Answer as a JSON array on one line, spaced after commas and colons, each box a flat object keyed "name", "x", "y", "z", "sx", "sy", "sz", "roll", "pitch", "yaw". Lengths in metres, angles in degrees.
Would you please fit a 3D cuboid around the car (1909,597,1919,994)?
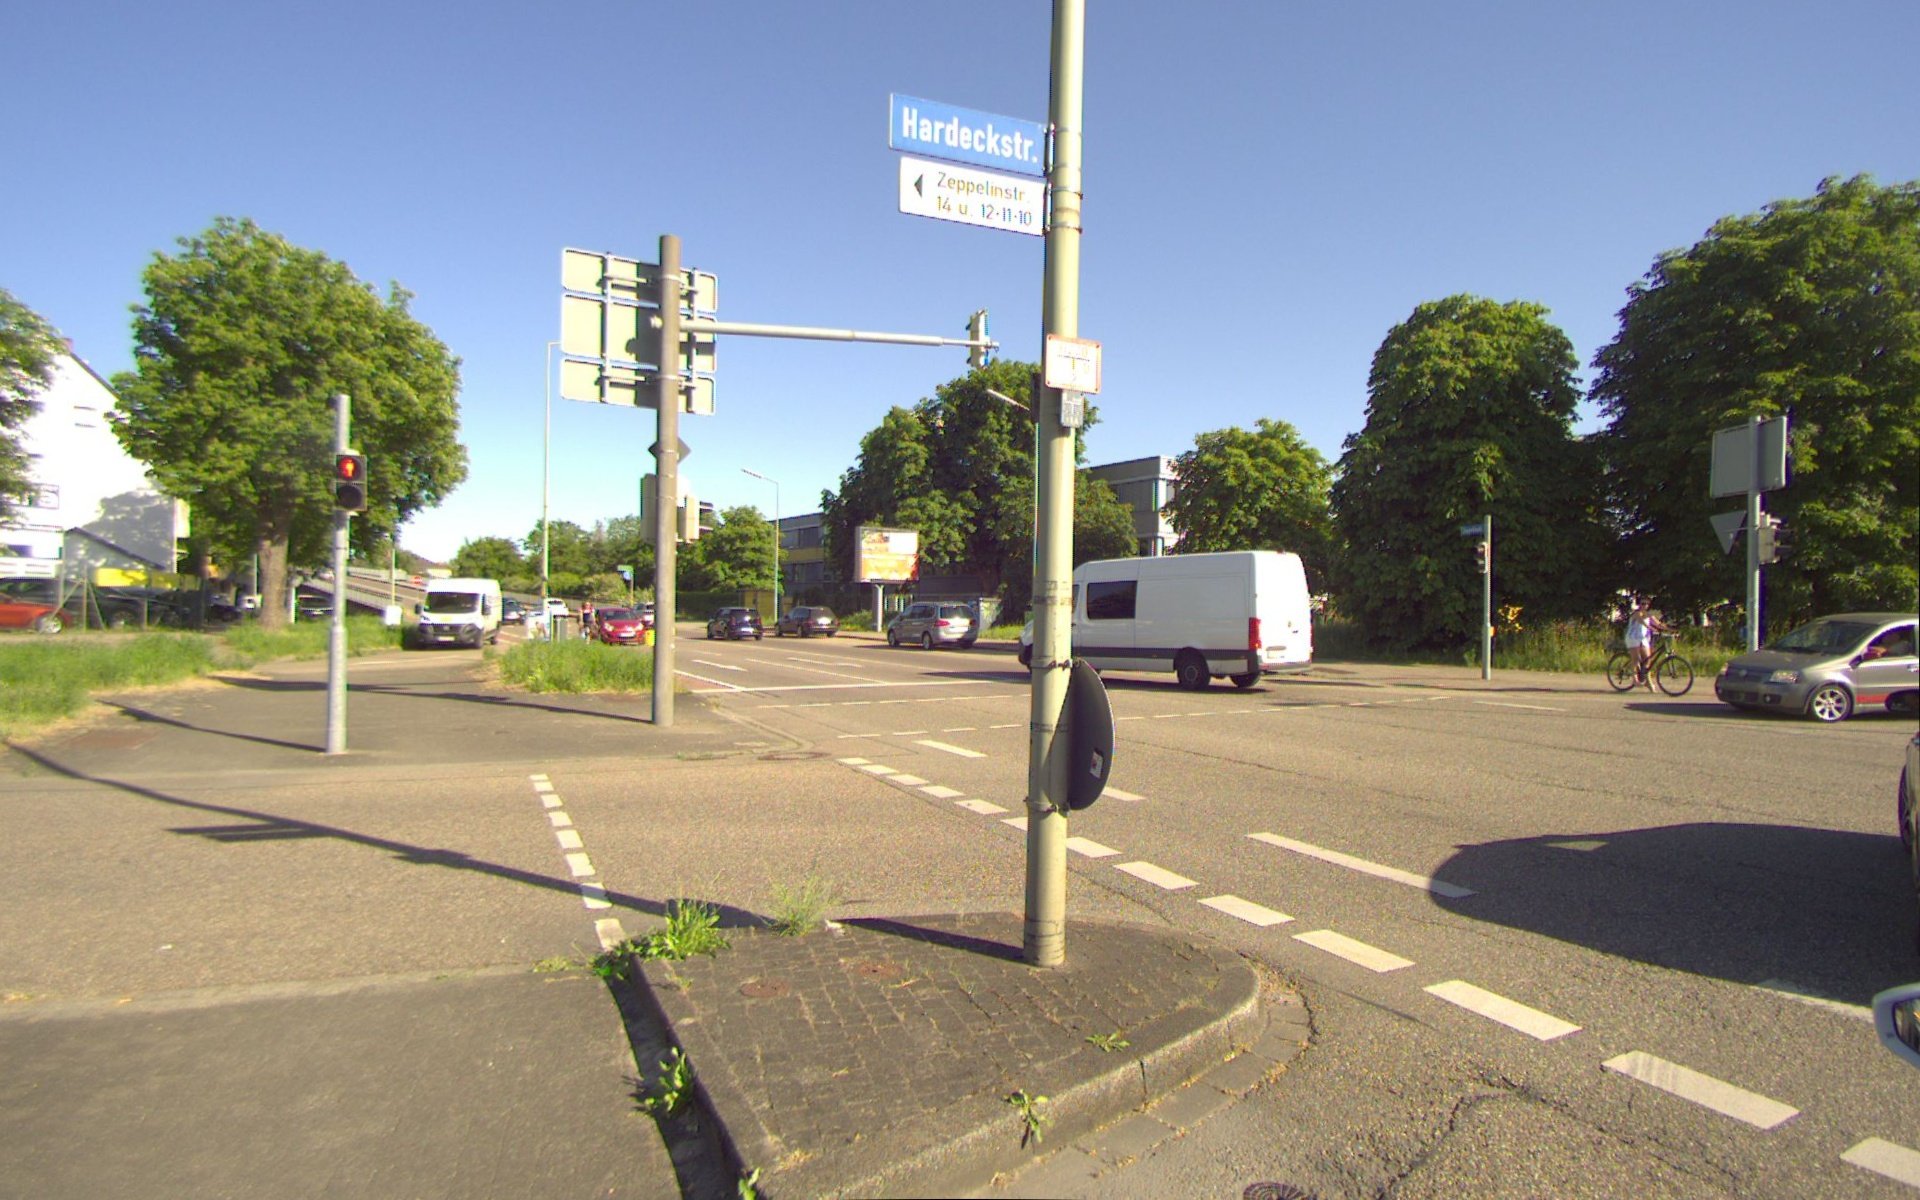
[{"name": "car", "x": 5.865, "y": 0.823, "z": 4.907, "sx": 1.751, "sy": 1.614, "sz": 3.966, "roll": 1, "pitch": -1, "yaw": 43}]

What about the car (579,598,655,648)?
[{"name": "car", "x": -13.448, "y": 0.867, "z": 39.263, "sx": 1.839, "sy": 1.759, "sz": 4.231, "roll": 1, "pitch": 0, "yaw": -33}]

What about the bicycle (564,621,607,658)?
[{"name": "bicycle", "x": -11.793, "y": 1.228, "z": 31.595, "sx": 0.929, "sy": 1.030, "sz": 2.180, "roll": 2, "pitch": 0, "yaw": -29}]

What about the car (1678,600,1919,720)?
[{"name": "car", "x": 13.288, "y": 0.876, "z": 15.084, "sx": 3.926, "sy": 1.661, "sz": 1.808, "roll": 1, "pitch": -1, "yaw": -8}]

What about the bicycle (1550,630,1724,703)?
[{"name": "bicycle", "x": 12.474, "y": 1.183, "z": 18.691, "sx": 0.887, "sy": 1.140, "sz": 2.948, "roll": 2, "pitch": 0, "yaw": -10}]

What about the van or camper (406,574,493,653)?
[{"name": "van or camper", "x": -18.895, "y": 0.474, "z": 37.001, "sx": 2.575, "sy": 2.617, "sz": 6.559, "roll": 0, "pitch": 0, "yaw": -30}]

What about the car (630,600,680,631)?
[{"name": "car", "x": -17.304, "y": 0.853, "z": 56.868, "sx": 1.975, "sy": 1.702, "sz": 3.970, "roll": 0, "pitch": 0, "yaw": -29}]

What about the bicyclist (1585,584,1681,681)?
[{"name": "bicyclist", "x": 12.486, "y": 0.586, "z": 18.666, "sx": 0.876, "sy": 1.715, "sz": 1.188, "roll": 2, "pitch": 0, "yaw": -10}]

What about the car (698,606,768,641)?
[{"name": "car", "x": -10.269, "y": 1.028, "z": 45.239, "sx": 1.902, "sy": 1.508, "sz": 4.236, "roll": 0, "pitch": 0, "yaw": -30}]

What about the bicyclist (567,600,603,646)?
[{"name": "bicyclist", "x": -11.828, "y": 0.729, "z": 31.701, "sx": 0.925, "sy": 1.420, "sz": 0.816, "roll": 2, "pitch": 0, "yaw": -30}]

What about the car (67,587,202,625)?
[{"name": "car", "x": -37.354, "y": 0.293, "z": 45.569, "sx": 1.783, "sy": 1.596, "sz": 4.396, "roll": 2, "pitch": 0, "yaw": 34}]

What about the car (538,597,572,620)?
[{"name": "car", "x": -29.958, "y": 0.635, "z": 74.252, "sx": 1.860, "sy": 1.564, "sz": 3.970, "roll": 2, "pitch": 0, "yaw": -28}]

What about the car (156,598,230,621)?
[{"name": "car", "x": -53.347, "y": 0.652, "z": 69.934, "sx": 1.750, "sy": 1.530, "sz": 3.667, "roll": 2, "pitch": 0, "yaw": 24}]

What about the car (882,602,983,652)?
[{"name": "car", "x": -1.109, "y": 0.961, "z": 37.858, "sx": 1.857, "sy": 1.745, "sz": 4.574, "roll": -1, "pitch": 0, "yaw": -31}]

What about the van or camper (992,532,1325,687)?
[{"name": "van or camper", "x": 3.922, "y": 0.137, "z": 21.389, "sx": 2.217, "sy": 2.775, "sz": 6.991, "roll": 2, "pitch": 0, "yaw": -42}]

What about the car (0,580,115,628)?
[{"name": "car", "x": -28.121, "y": 0.089, "z": 29.107, "sx": 2.315, "sy": 1.327, "sz": 5.058, "roll": 2, "pitch": 0, "yaw": 23}]
